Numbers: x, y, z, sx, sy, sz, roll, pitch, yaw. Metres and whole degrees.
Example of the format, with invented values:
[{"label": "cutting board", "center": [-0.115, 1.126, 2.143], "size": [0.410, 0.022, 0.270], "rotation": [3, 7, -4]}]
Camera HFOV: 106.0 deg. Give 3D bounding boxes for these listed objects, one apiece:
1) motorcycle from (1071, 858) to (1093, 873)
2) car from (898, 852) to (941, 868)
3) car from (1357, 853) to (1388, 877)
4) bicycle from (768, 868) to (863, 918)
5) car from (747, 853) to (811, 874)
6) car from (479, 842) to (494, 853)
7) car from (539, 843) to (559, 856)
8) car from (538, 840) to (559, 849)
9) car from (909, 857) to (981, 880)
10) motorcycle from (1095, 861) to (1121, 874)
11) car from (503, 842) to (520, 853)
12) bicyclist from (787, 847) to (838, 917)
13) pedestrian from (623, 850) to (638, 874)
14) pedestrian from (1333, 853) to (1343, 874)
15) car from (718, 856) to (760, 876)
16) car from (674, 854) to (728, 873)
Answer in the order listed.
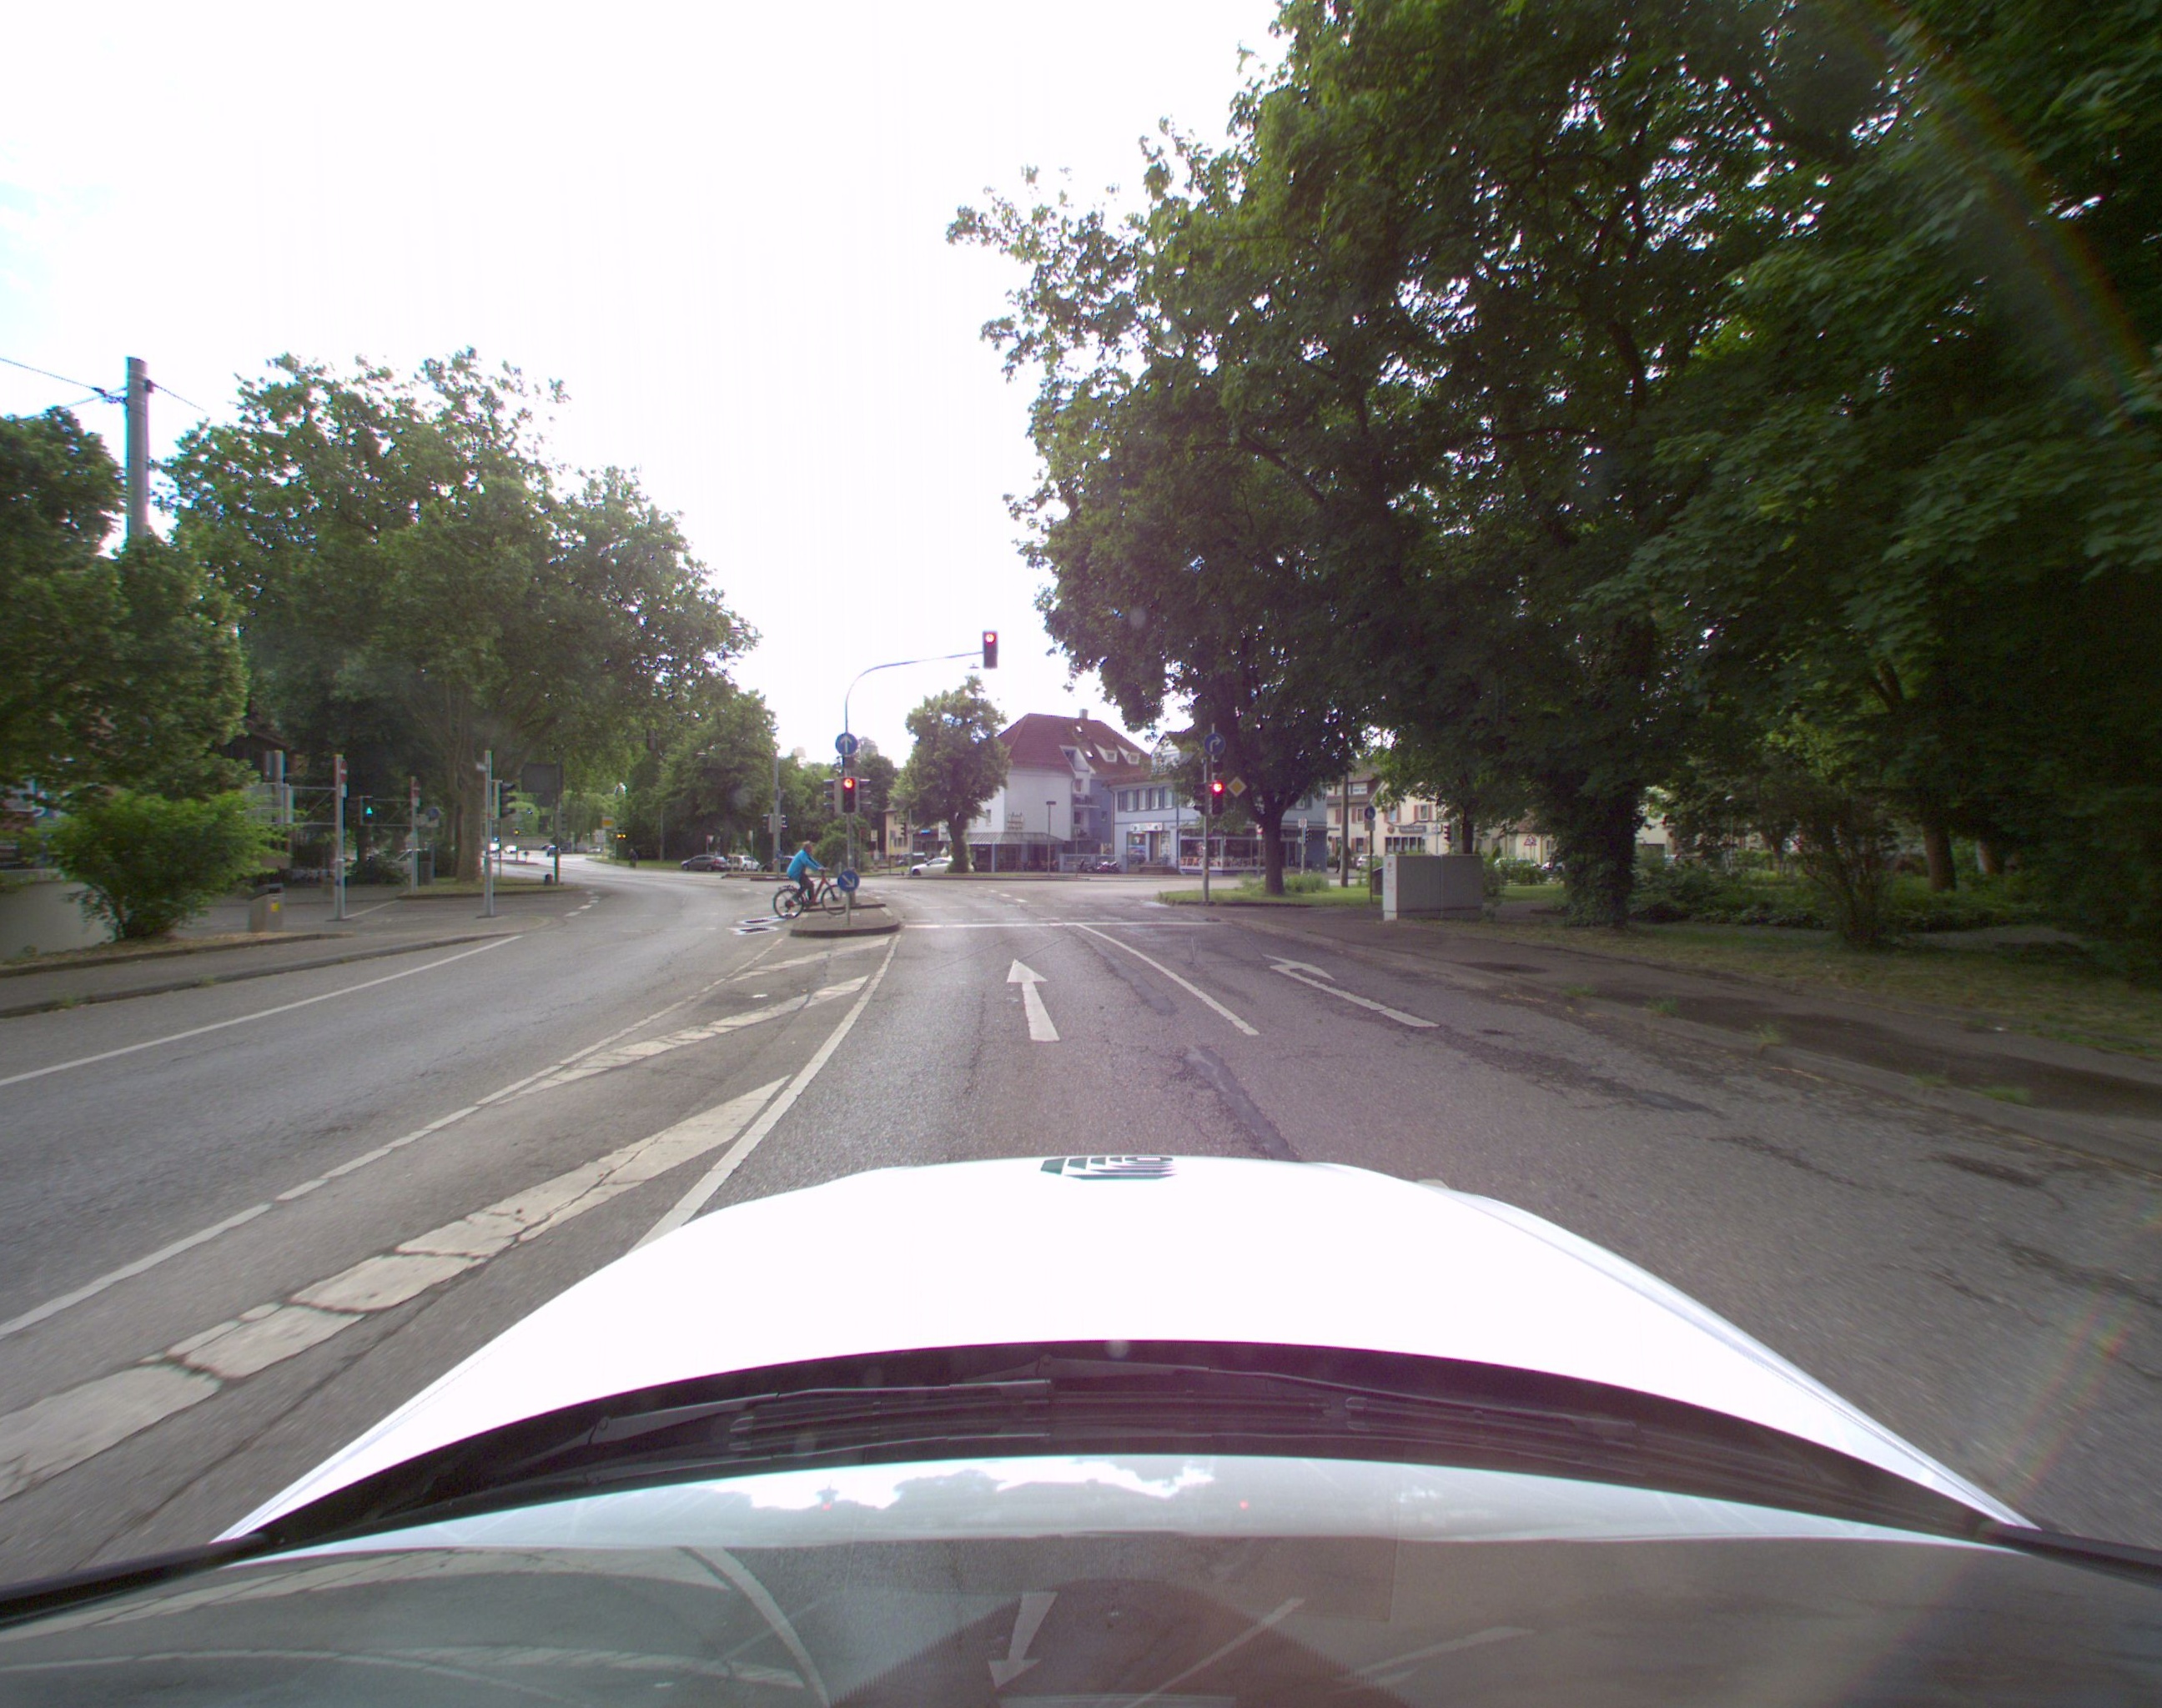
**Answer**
[{"label": "motorcycle", "center": [0.057, 0.874, 62.112], "size": [1.482, 1.106, 0.564], "rotation": [-2, 5, 23]}, {"label": "car", "center": [-16.733, 0.635, 84.531], "size": [4.011, 1.486, 1.744], "rotation": [-1, 0, -29]}, {"label": "car", "center": [23.793, 0.909, 66.424], "size": [1.838, 1.865, 3.583], "rotation": [-1, 0, 29]}, {"label": "bicycle", "center": [-6.245, 0.900, 19.185], "size": [2.076, 1.082, 0.935], "rotation": [0, 0, -19]}, {"label": "car", "center": [-23.421, 0.730, 63.104], "size": [4.535, 1.517, 2.012], "rotation": [-1, 0, 25]}, {"label": "car", "center": [-111.778, -1.170, 153.102], "size": [2.008, 1.882, 3.958], "rotation": [-1, 0, -34]}, {"label": "car", "center": [-83.723, -0.663, 128.123], "size": [2.003, 1.882, 3.968], "rotation": [-1, 0, -24]}, {"label": "car", "center": [-122.436, -2.187, 187.296], "size": [4.018, 2.013, 1.978], "rotation": [-1, 0, -37]}, {"label": "car", "center": [-9.432, 0.989, 56.509], "size": [4.535, 1.517, 2.012], "rotation": [-1, 0, 25]}, {"label": "motorcycle", "center": [1.994, 1.013, 60.689], "size": [1.819, 0.848, 0.564], "rotation": [-1, 5, 27]}, {"label": "car", "center": [-108.744, -1.203, 155.533], "size": [2.005, 1.882, 3.964], "rotation": [-1, 0, -28]}, {"label": "bicyclist", "center": [-6.310, 0.640, 19.158], "size": [1.102, 1.599, 0.935], "rotation": [0, 0, -19]}, {"label": "pedestrian", "center": [-40.514, 0.715, 73.289], "size": [0.849, 2.178, 0.781], "rotation": [-1, 0, 28]}, {"label": "pedestrian", "center": [19.135, 0.723, 60.617], "size": [0.407, 1.552, 0.495], "rotation": [-1, 0, -37]}, {"label": "car", "center": [-31.426, 1.098, 74.999], "size": [1.985, 1.772, 4.004], "rotation": [-1, 0, 3]}, {"label": "car", "center": [-33.392, 0.832, 71.599], "size": [3.955, 1.574, 2.009], "rotation": [-1, 0, 18]}]
